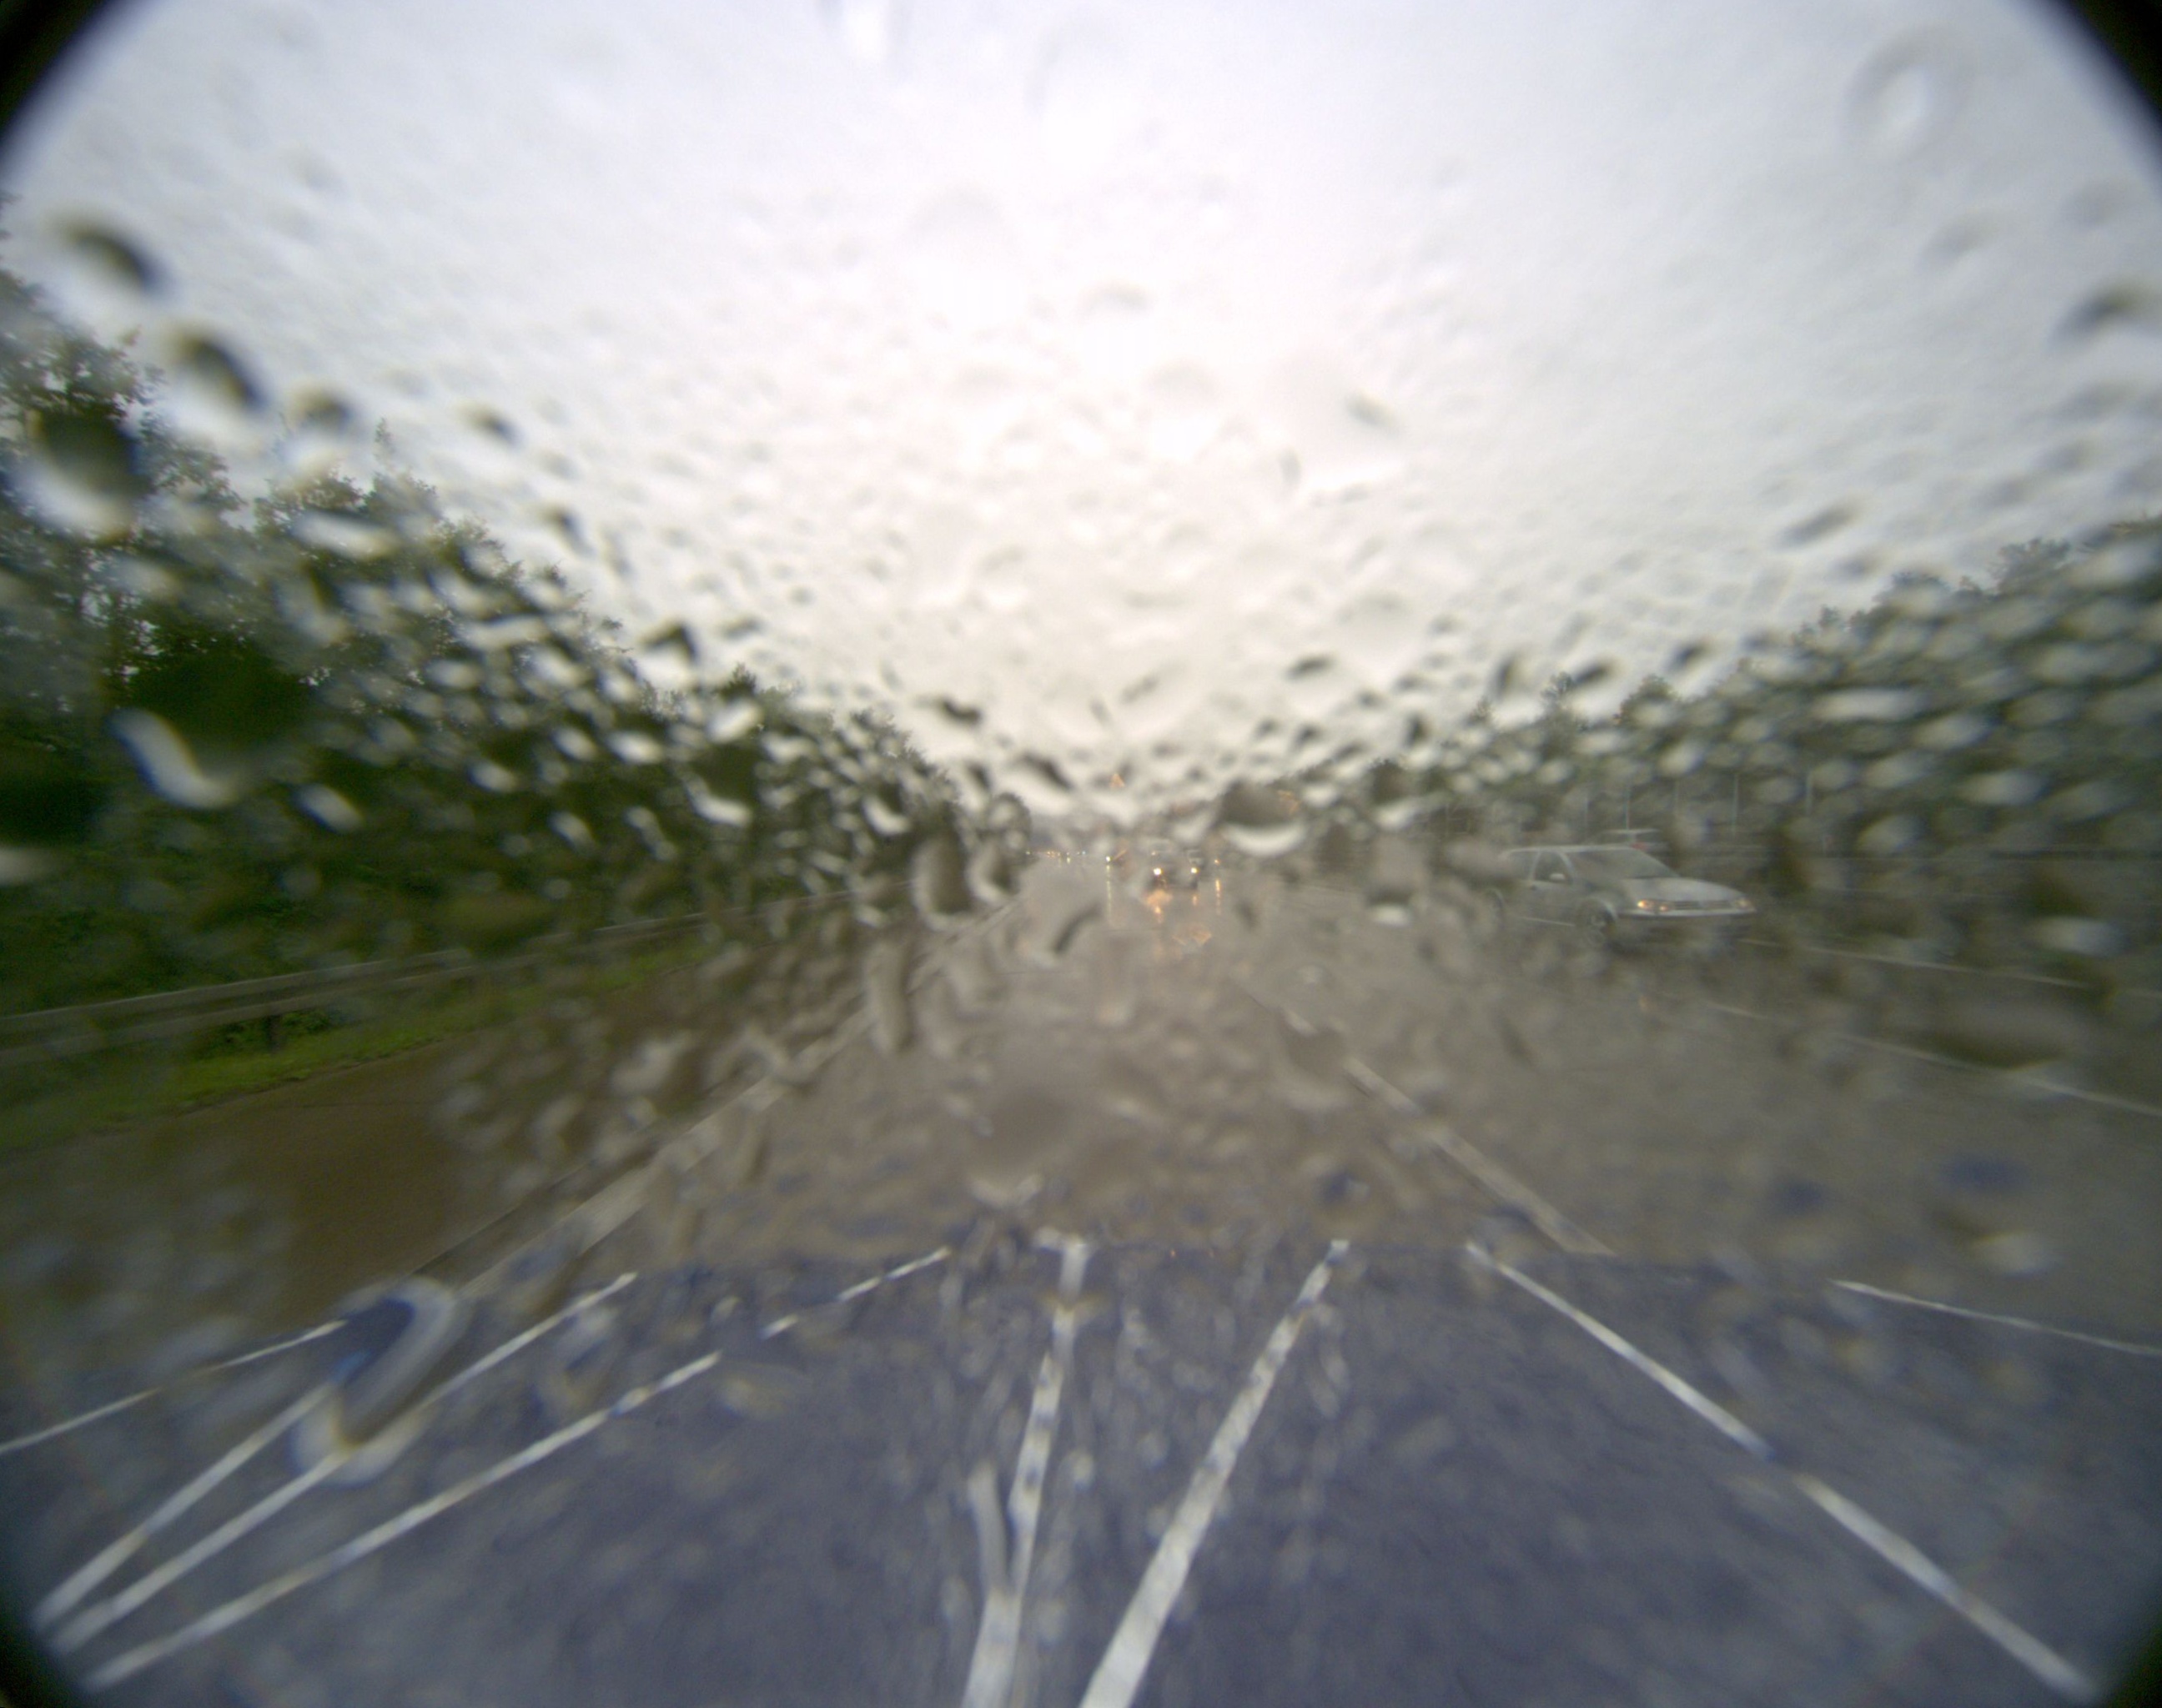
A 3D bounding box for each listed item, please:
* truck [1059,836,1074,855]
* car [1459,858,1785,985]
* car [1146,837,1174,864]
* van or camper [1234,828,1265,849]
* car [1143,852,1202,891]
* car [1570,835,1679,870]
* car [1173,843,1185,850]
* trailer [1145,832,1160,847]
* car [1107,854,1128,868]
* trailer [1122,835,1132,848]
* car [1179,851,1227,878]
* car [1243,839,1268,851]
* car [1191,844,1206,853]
[{"bbox_3d":[-3.164,-1.916,173.029,3.058,3.995,10.044,0,-1,1],"label":"truck"},{"bbox_3d":[7.563,0.816,11.271,1.671,1.426,4.349,-1,1,-2],"label":"car"},{"bbox_3d":[7.785,-0.376,75.570,2.046,2.616,6.402,0,1,-1],"label":"car"},{"bbox_3d":[23.276,-2.101,105.284,2.562,2.702,7.497,-2,1,0],"label":"van or camper"},{"bbox_3d":[3.712,0.670,31.585,1.934,1.426,4.517,0,1,0],"label":"car"},{"bbox_3d":[24.266,-0.089,34.167,1.671,1.426,4.517,-1,1,0],"label":"car"},{"bbox_3d":[19.978,-1.526,155.256,1.757,1.296,4.342,-3,1,-1],"label":"car"},{"bbox_3d":[20.038,-4.061,214.154,2.774,3.779,13.775,-3,1,0],"label":"trailer"},{"bbox_3d":[3.737,0.705,78.522,1.934,1.426,4.517,0,1,0],"label":"car"},{"bbox_3d":[15.891,-4.294,262.952,2.856,4.130,8.523,-3,1,-1],"label":"trailer"},{"bbox_3d":[6.943,0.553,43.684,1.934,1.426,4.517,0,1,-1],"label":"car"},{"bbox_3d":[20.062,-1.038,87.595,1.757,1.296,4.342,-3,1,-1],"label":"car"},{"bbox_3d":[20.034,-0.959,130.165,1.757,1.296,4.342,-3,1,-1],"label":"car"}]
